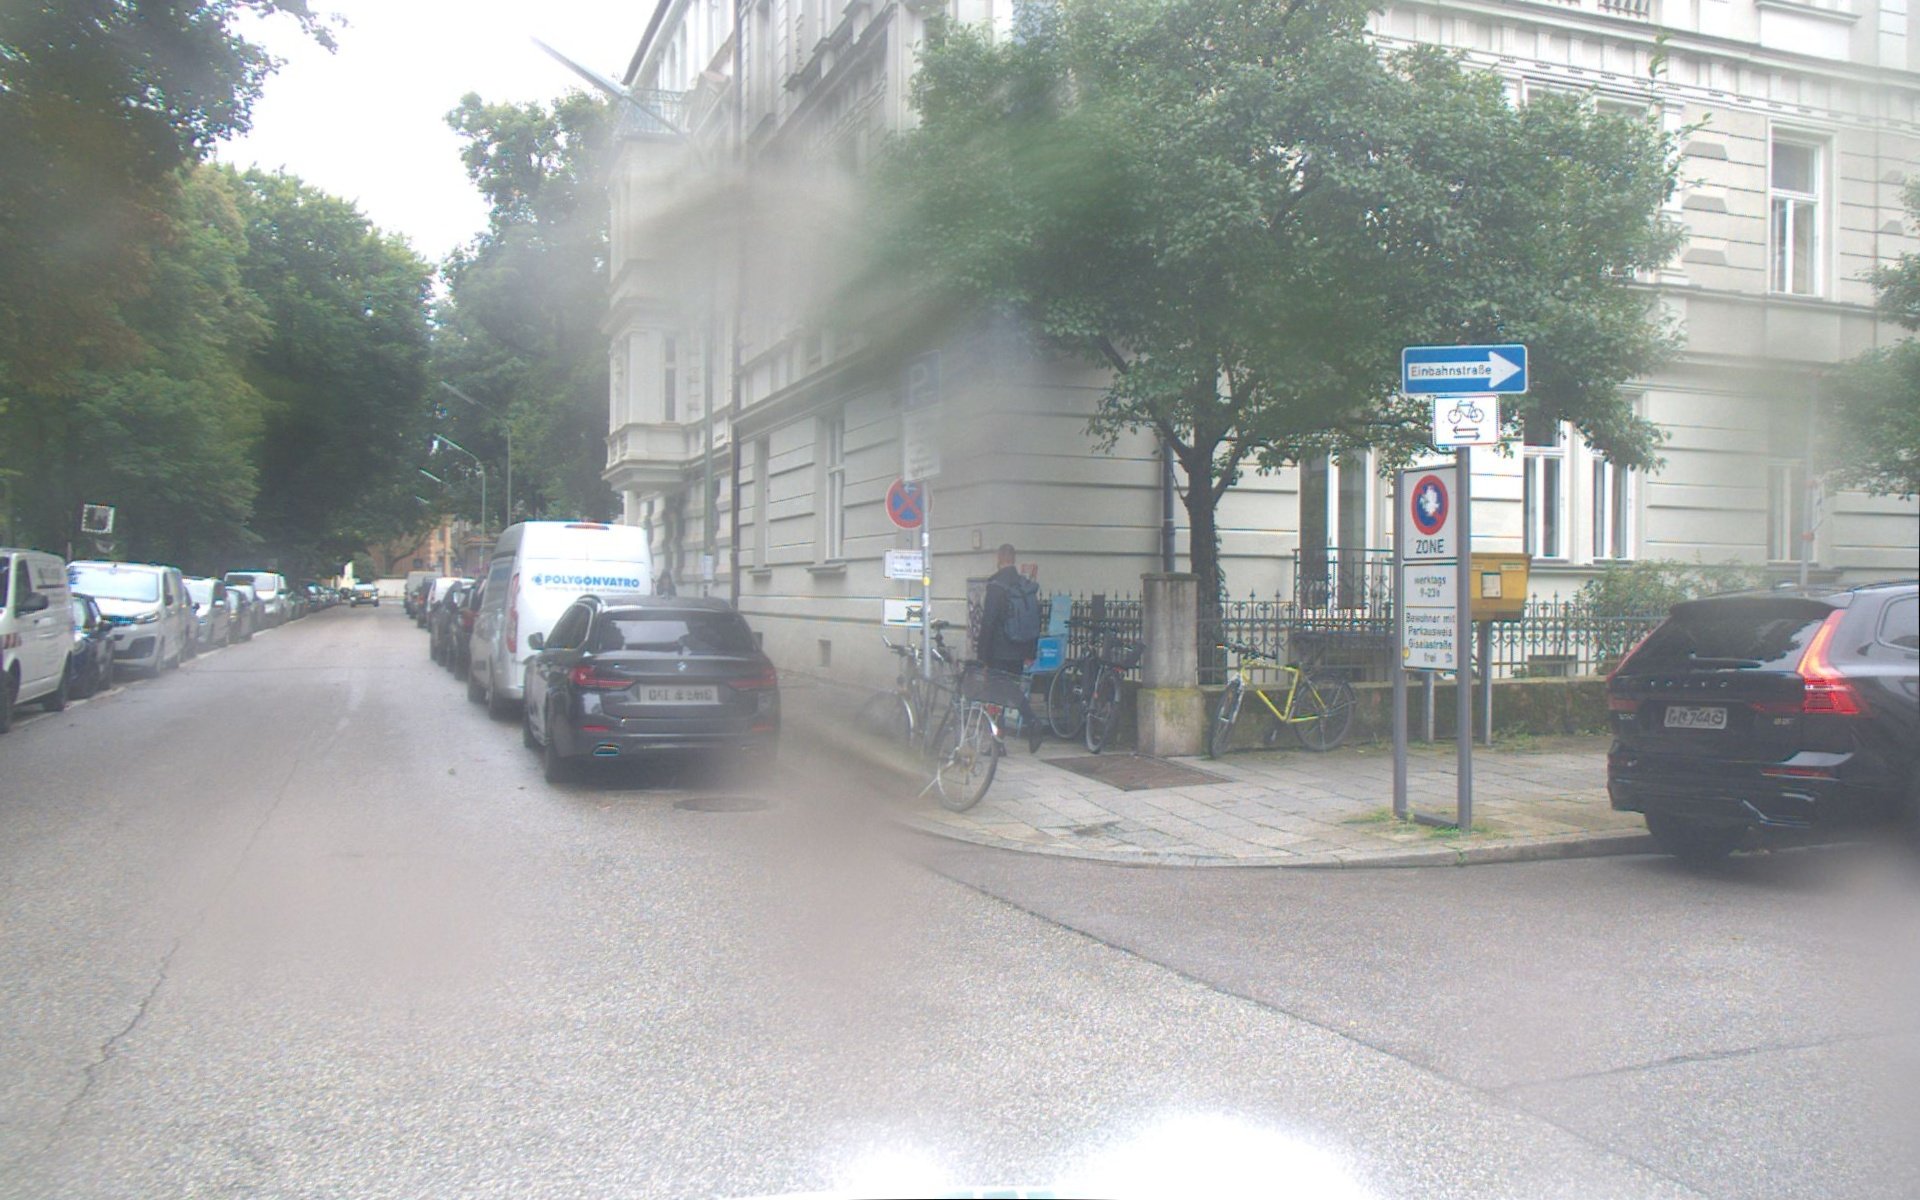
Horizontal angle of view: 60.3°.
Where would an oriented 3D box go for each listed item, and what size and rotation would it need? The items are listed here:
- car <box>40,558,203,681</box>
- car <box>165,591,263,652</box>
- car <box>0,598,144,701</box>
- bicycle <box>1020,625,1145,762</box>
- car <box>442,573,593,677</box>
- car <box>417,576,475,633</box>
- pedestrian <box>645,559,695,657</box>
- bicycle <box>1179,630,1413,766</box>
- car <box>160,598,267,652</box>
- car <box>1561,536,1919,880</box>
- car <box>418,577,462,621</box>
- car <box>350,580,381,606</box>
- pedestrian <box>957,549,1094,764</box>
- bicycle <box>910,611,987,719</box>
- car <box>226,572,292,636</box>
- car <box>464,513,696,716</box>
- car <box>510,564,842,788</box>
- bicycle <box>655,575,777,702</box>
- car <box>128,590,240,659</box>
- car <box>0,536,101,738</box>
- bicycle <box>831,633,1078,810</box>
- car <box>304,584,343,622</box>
[{"bbox_3d":[-14.866,0.318,29.602,2.154,1.991,5.131,1,0,-22],"label":"car"},{"bbox_3d":[-20.228,0.548,45.003,1.929,1.554,4.023,1,0,-18],"label":"car"},{"bbox_3d":[-13.250,0.674,24.048,2.182,1.353,3.921,1,0,-23],"label":"car"},{"bbox_3d":[1.053,0.785,14.597,0.423,1.046,1.881,0,2,-18],"label":"bicycle"},{"bbox_3d":[-7.916,0.400,29.305,2.108,1.658,4.288,-2,0,-21],"label":"car"},{"bbox_3d":[-19.090,0.141,61.433,1.962,2.010,3.980,-1,1,-18],"label":"car"},{"bbox_3d":[-5.588,0.143,31.849,0.846,1.867,0.663,0,0,-19],"label":"pedestrian"},{"bbox_3d":[2.817,0.800,13.862,1.892,1.046,0.554,-1,1,-18],"label":"bicycle"},{"bbox_3d":[-20.219,0.646,44.936,2.084,1.353,4.119,1,0,-17],"label":"car"},{"bbox_3d":[6.263,0.581,9.968,4.968,1.681,1.930,0,-3,-23],"label":"car"},{"bbox_3d":[-25.014,-0.079,79.582,1.962,2.049,3.980,-1,1,-18],"label":"car"},{"bbox_3d":[-43.851,-0.534,122.005,1.962,1.814,3.980,-1,1,-18],"label":"car"},{"bbox_3d":[0.538,0.450,13.913,0.844,1.719,0.970,-1,1,-18],"label":"pedestrian"},{"bbox_3d":[-0.140,0.673,17.923,0.536,1.079,1.746,0,1,-11],"label":"bicycle"},{"bbox_3d":[-25.628,0.150,60.608,1.973,2.225,4.667,1,0,-21],"label":"car"},{"bbox_3d":[-4.960,0.142,21.024,2.172,2.247,4.824,-2,0,-21],"label":"car"},{"bbox_3d":[-2.669,0.540,14.489,2.237,1.573,4.564,-2,0,-18],"label":"car"},{"bbox_3d":[-3.146,0.457,21.181,0.702,1.542,2.012,0,1,-36],"label":"bicycle"},{"bbox_3d":[-18.805,0.564,40.238,2.039,1.546,4.212,1,0,-20],"label":"car"},{"bbox_3d":[-11.177,0.335,18.540,2.217,1.991,5.416,1,0,-22],"label":"car"},{"bbox_3d":[-0.092,0.807,11.791,0.648,1.046,2.175,-1,2,-35],"label":"bicycle"},{"bbox_3d":[-37.854,0.182,98.350,2.019,2.192,4.284,1,0,-22],"label":"car"}]
